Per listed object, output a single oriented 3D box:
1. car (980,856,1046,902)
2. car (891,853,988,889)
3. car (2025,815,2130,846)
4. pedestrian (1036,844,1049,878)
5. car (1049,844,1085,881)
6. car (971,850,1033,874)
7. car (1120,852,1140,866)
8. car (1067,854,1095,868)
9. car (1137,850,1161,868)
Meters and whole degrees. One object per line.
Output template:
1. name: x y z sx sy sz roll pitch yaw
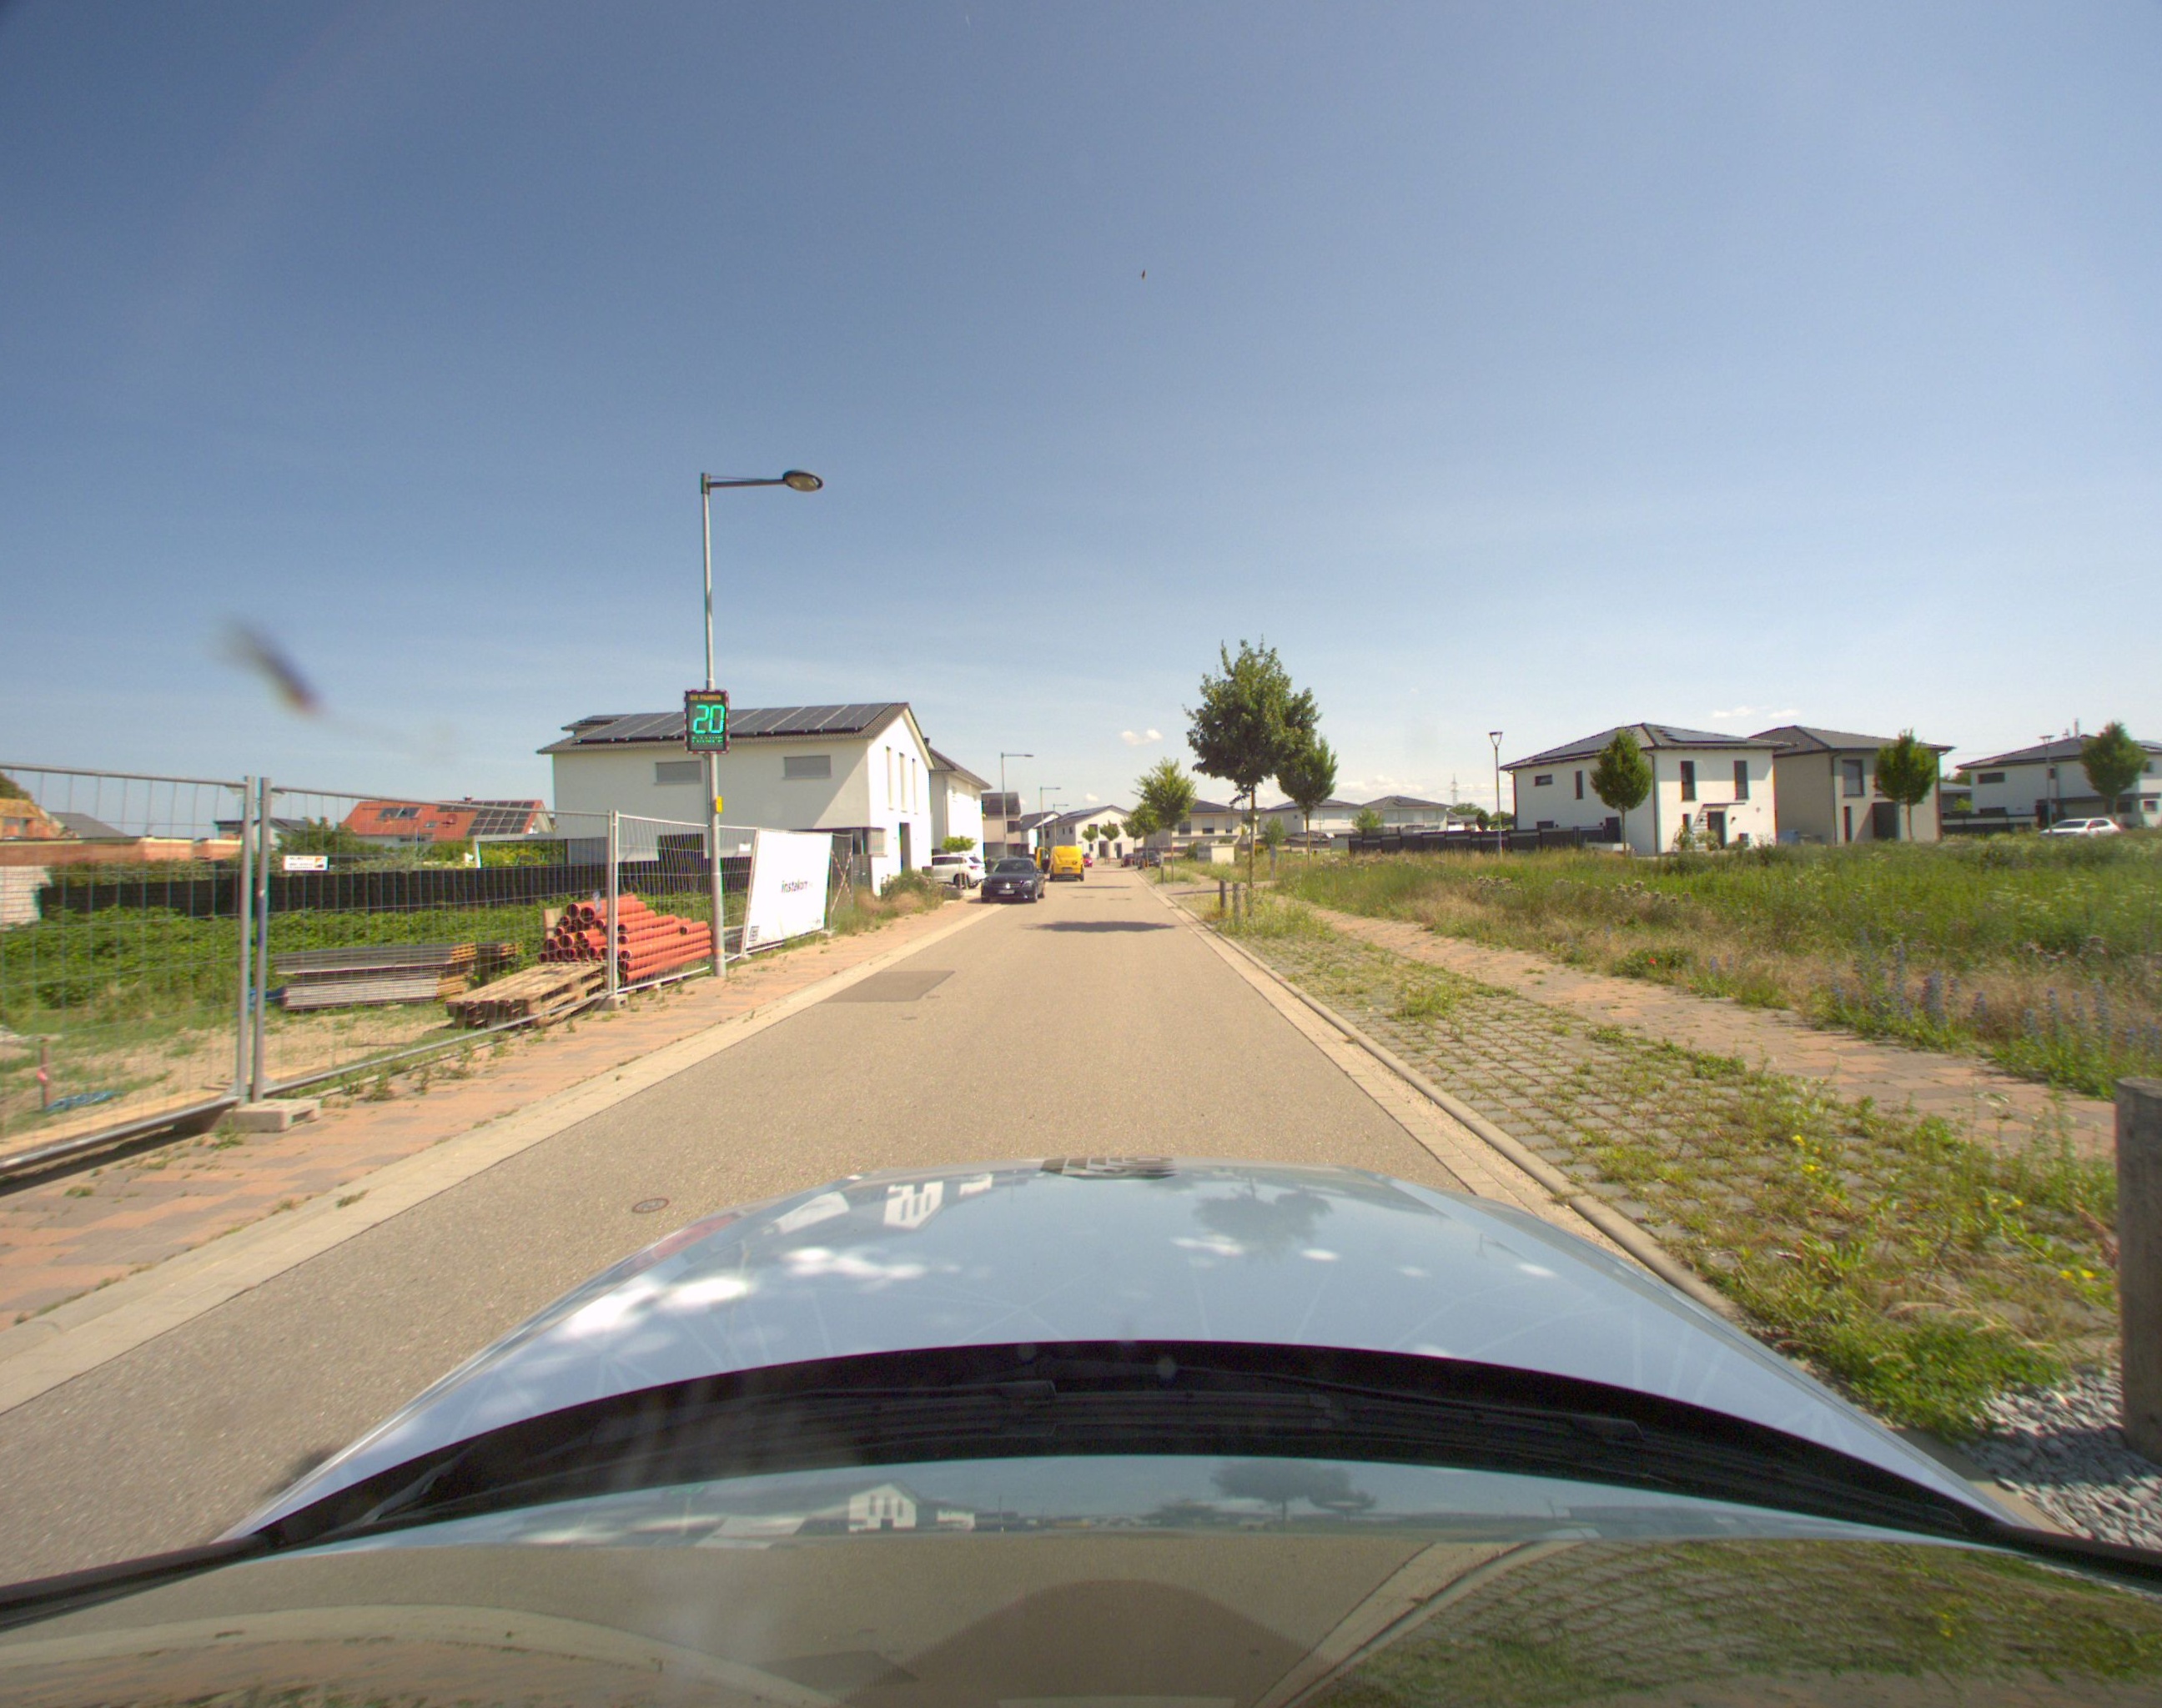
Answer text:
1. car: -2.233 0.798 27.575 1.739 1.405 4.161 0 0 2
2. car: -6.572 0.765 38.054 4.046 1.581 1.788 -1 1 7
3. car: 51.207 -1.199 41.863 3.990 1.398 1.743 -2 -1 -12
4. pedestrian: -2.301 0.417 48.663 0.649 2.014 1.124 -2 -1 2
5. car: -0.815 0.487 47.548 1.936 1.981 4.214 -2 -1 -2
6. car: -5.700 0.582 58.424 4.166 1.505 1.807 2 -1 -14
7. car: 5.135 0.573 86.104 1.625 1.322 3.827 -2 -2 -5
8. car: -0.017 0.770 90.366 1.997 1.431 4.676 -2 -1 -15
9. car: 5.605 0.443 67.461 1.633 1.403 3.811 -2 -1 1
